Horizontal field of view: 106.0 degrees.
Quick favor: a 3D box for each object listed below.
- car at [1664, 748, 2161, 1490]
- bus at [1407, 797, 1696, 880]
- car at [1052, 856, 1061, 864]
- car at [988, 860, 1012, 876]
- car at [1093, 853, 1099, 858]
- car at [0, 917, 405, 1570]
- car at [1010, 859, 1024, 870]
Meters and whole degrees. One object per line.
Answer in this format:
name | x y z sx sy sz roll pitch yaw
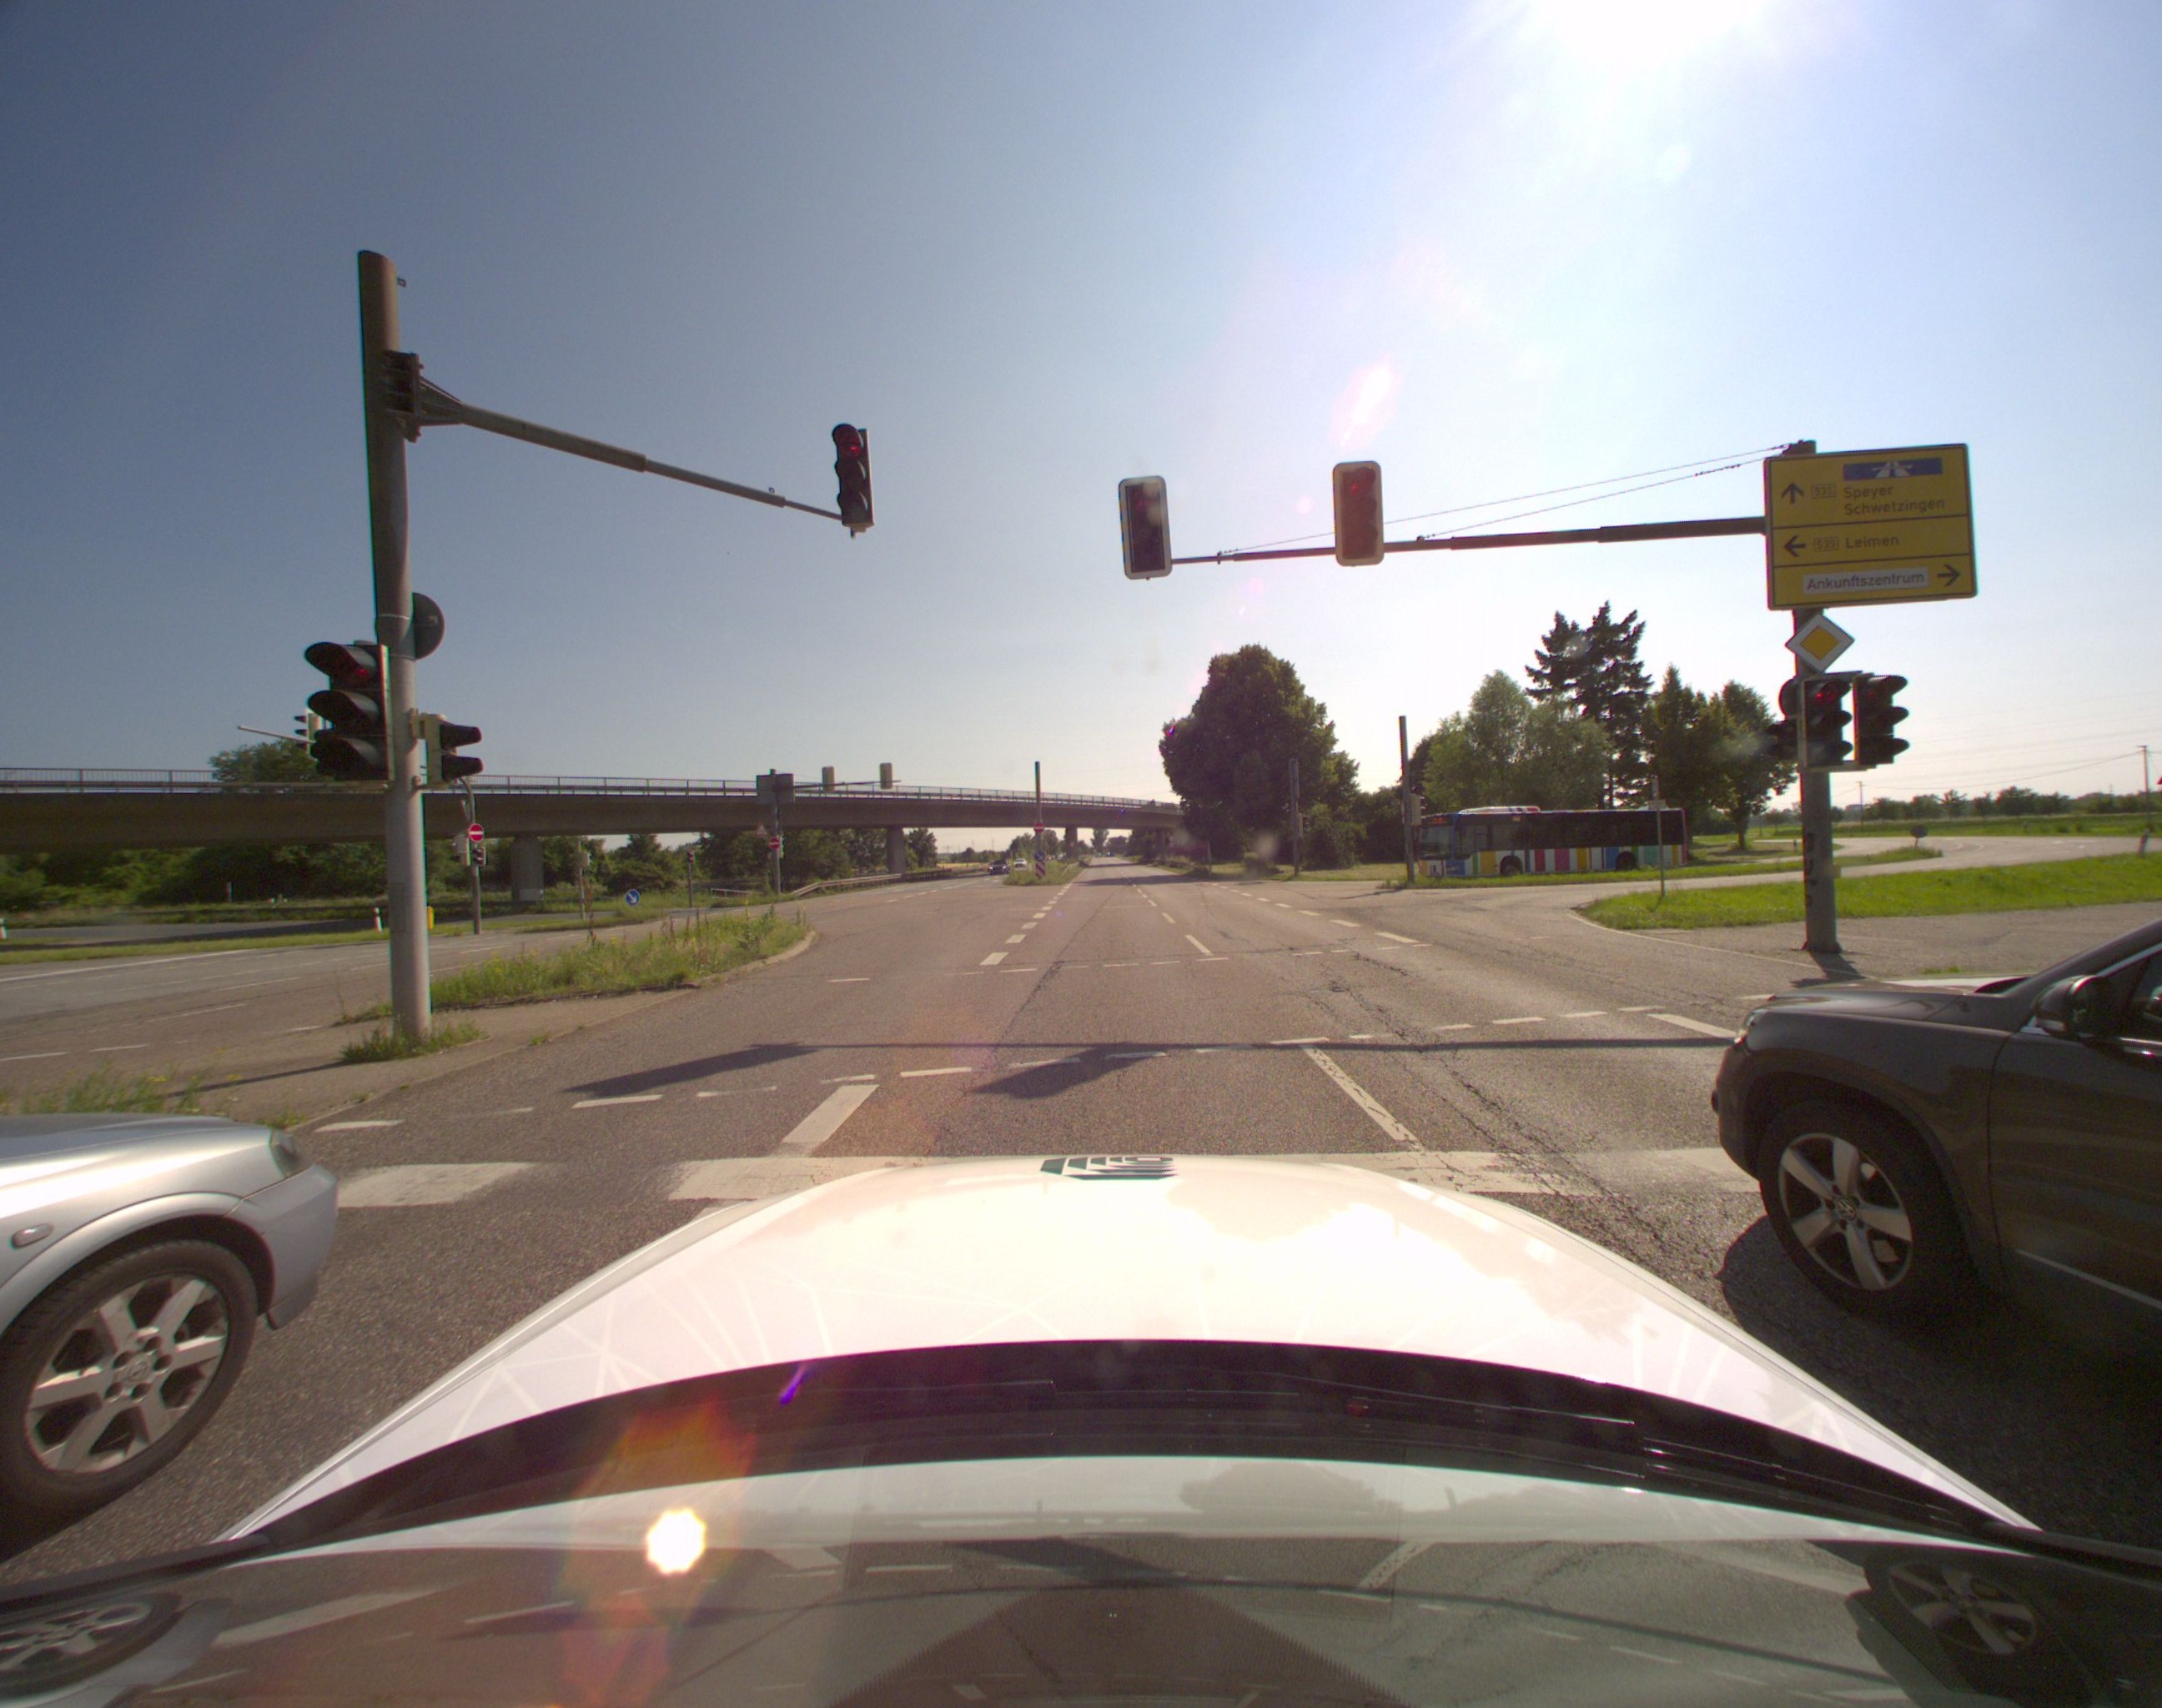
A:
car | 3.270 0.581 1.309 1.749 1.655 4.147 -1 0 1
bus | 20.228 -0.706 35.006 11.954 2.877 2.928 -3 0 -14
car | -5.533 1.368 184.152 1.551 1.540 4.001 -3 0 2
car | -8.314 1.411 84.094 1.850 1.448 4.241 -5 0 1
car | 4.905 0.619 262.308 1.843 1.460 4.003 -4 0 3
car | -3.239 0.920 0.739 1.667 1.335 4.100 -3 0 2
car | -10.177 1.657 129.262 1.784 1.628 4.000 -3 0 1
